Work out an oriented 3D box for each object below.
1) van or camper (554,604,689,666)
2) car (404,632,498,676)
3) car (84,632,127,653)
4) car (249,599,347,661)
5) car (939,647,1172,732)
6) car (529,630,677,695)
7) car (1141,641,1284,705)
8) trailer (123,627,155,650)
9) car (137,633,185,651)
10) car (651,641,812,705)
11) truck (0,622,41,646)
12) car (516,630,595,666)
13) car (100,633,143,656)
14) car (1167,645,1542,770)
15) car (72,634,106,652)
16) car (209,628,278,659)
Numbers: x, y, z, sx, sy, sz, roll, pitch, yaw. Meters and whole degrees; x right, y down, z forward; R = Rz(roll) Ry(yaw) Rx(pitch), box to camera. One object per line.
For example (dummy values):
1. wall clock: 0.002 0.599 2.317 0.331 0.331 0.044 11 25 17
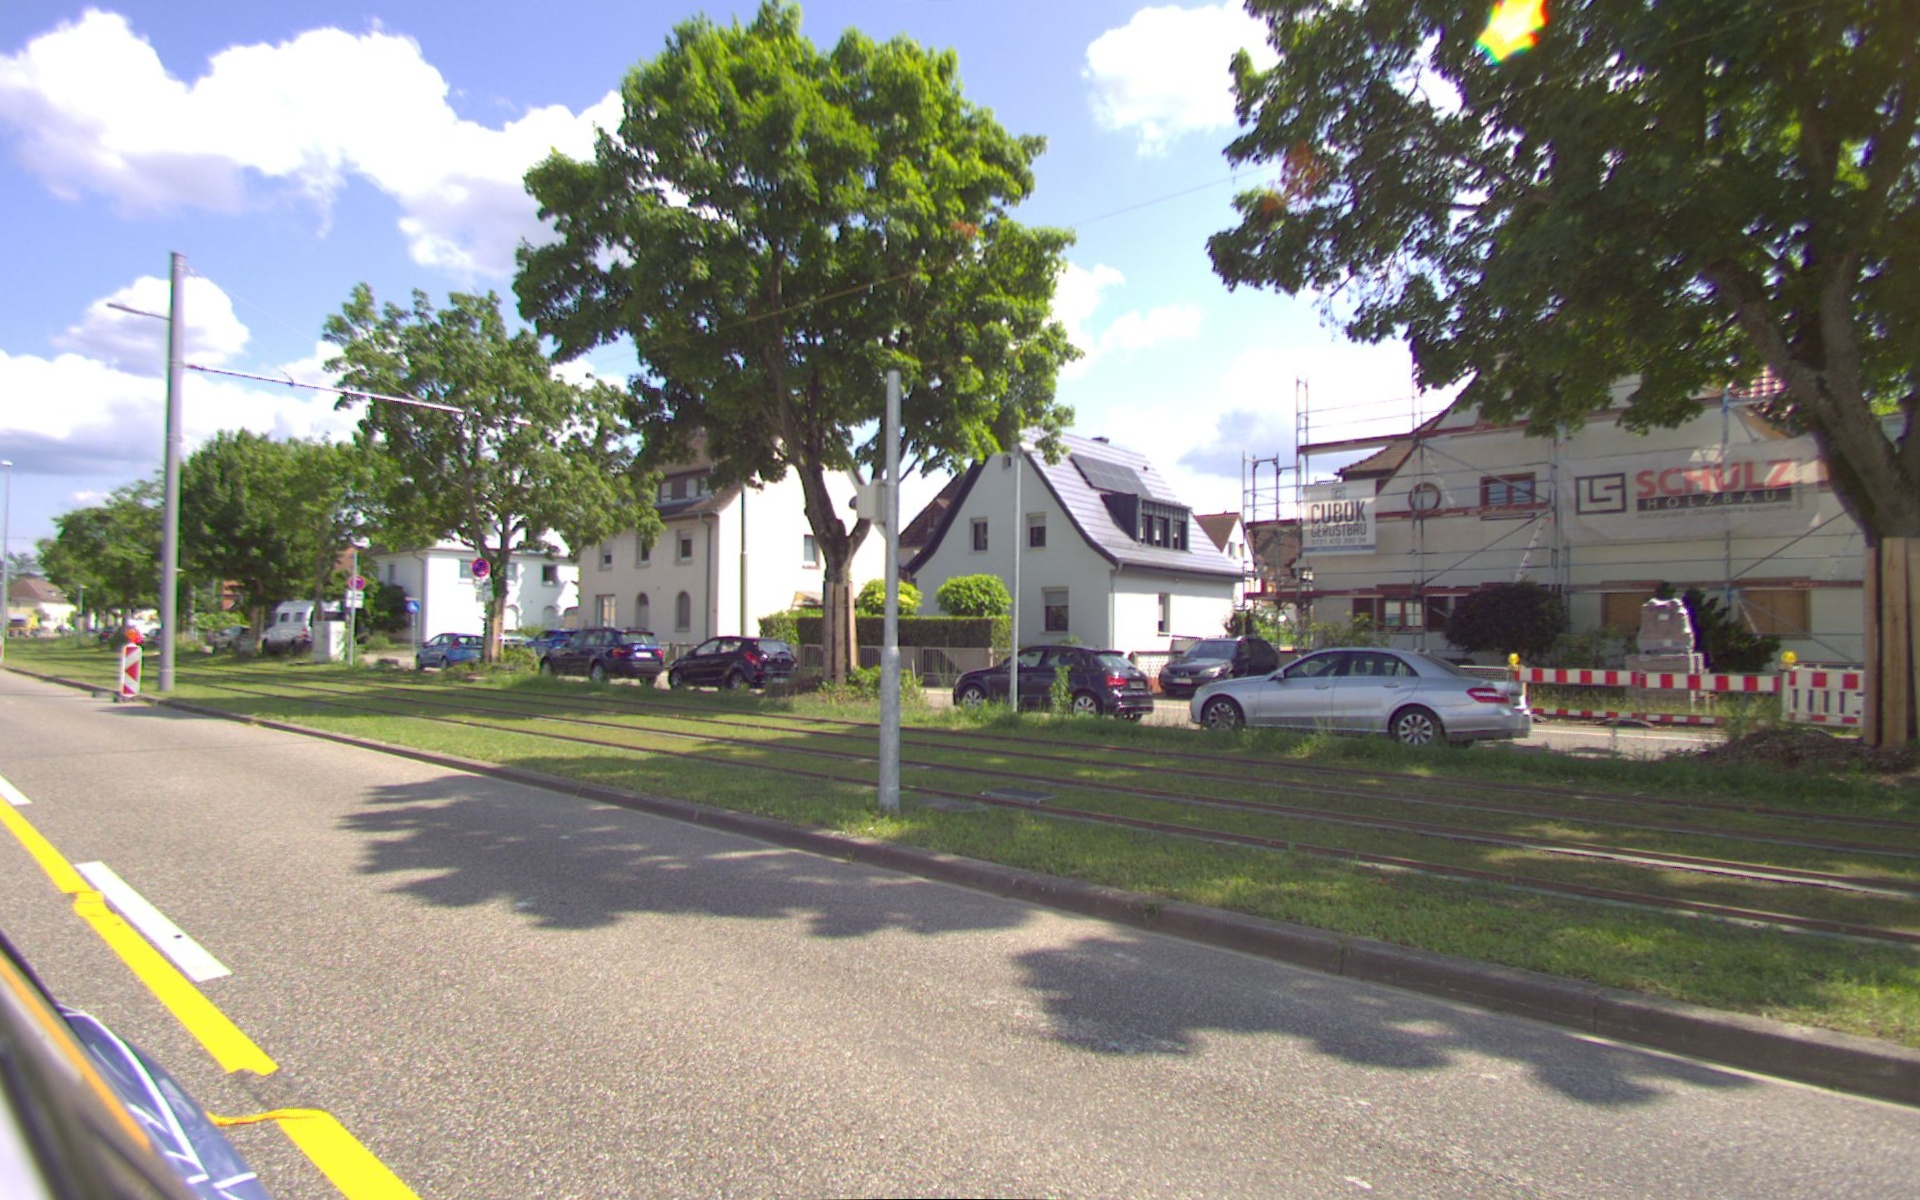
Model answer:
1. van or camper: -18.602 1.975 55.981 2.633 3.246 6.657 -2 -3 41
2. car: -18.189 1.899 36.114 3.890 1.447 1.734 -1 -3 43
3. car: -68.110 3.391 80.666 4.321 1.551 1.972 -1 -3 42
4. car: -31.255 1.430 47.688 6.456 2.751 1.973 -2 -4 40
5. car: 1.720 1.616 18.796 3.851 1.328 1.973 -1 -5 41
6. car: -10.428 1.767 29.462 4.386 1.704 1.974 -1 -3 38
7. car: 6.482 1.785 25.722 1.981 1.412 3.945 0 -1 41
8. trailer: -56.901 2.679 70.151 2.281 1.530 1.286 -1 -4 41
9. car: -52.609 2.749 66.597 3.834 1.101 1.762 -1 -3 41
10. car: -5.860 1.824 25.770 3.998 1.450 1.973 -1 -4 41
11. truck: -141.967 5.210 152.924 2.658 3.392 8.074 3 -4 -28
12. car: -19.482 2.297 48.683 3.999 1.589 1.882 -1 -3 42
13. car: -64.098 3.460 77.329 4.099 1.590 1.885 -3 -8 42
14. car: 5.740 1.478 15.168 4.938 1.494 1.785 -1 -3 42
15. car: -81.072 4.026 94.188 4.324 1.551 1.971 -1 -3 44
16. car: -38.099 2.305 53.775 4.485 1.517 1.972 -1 -3 42
